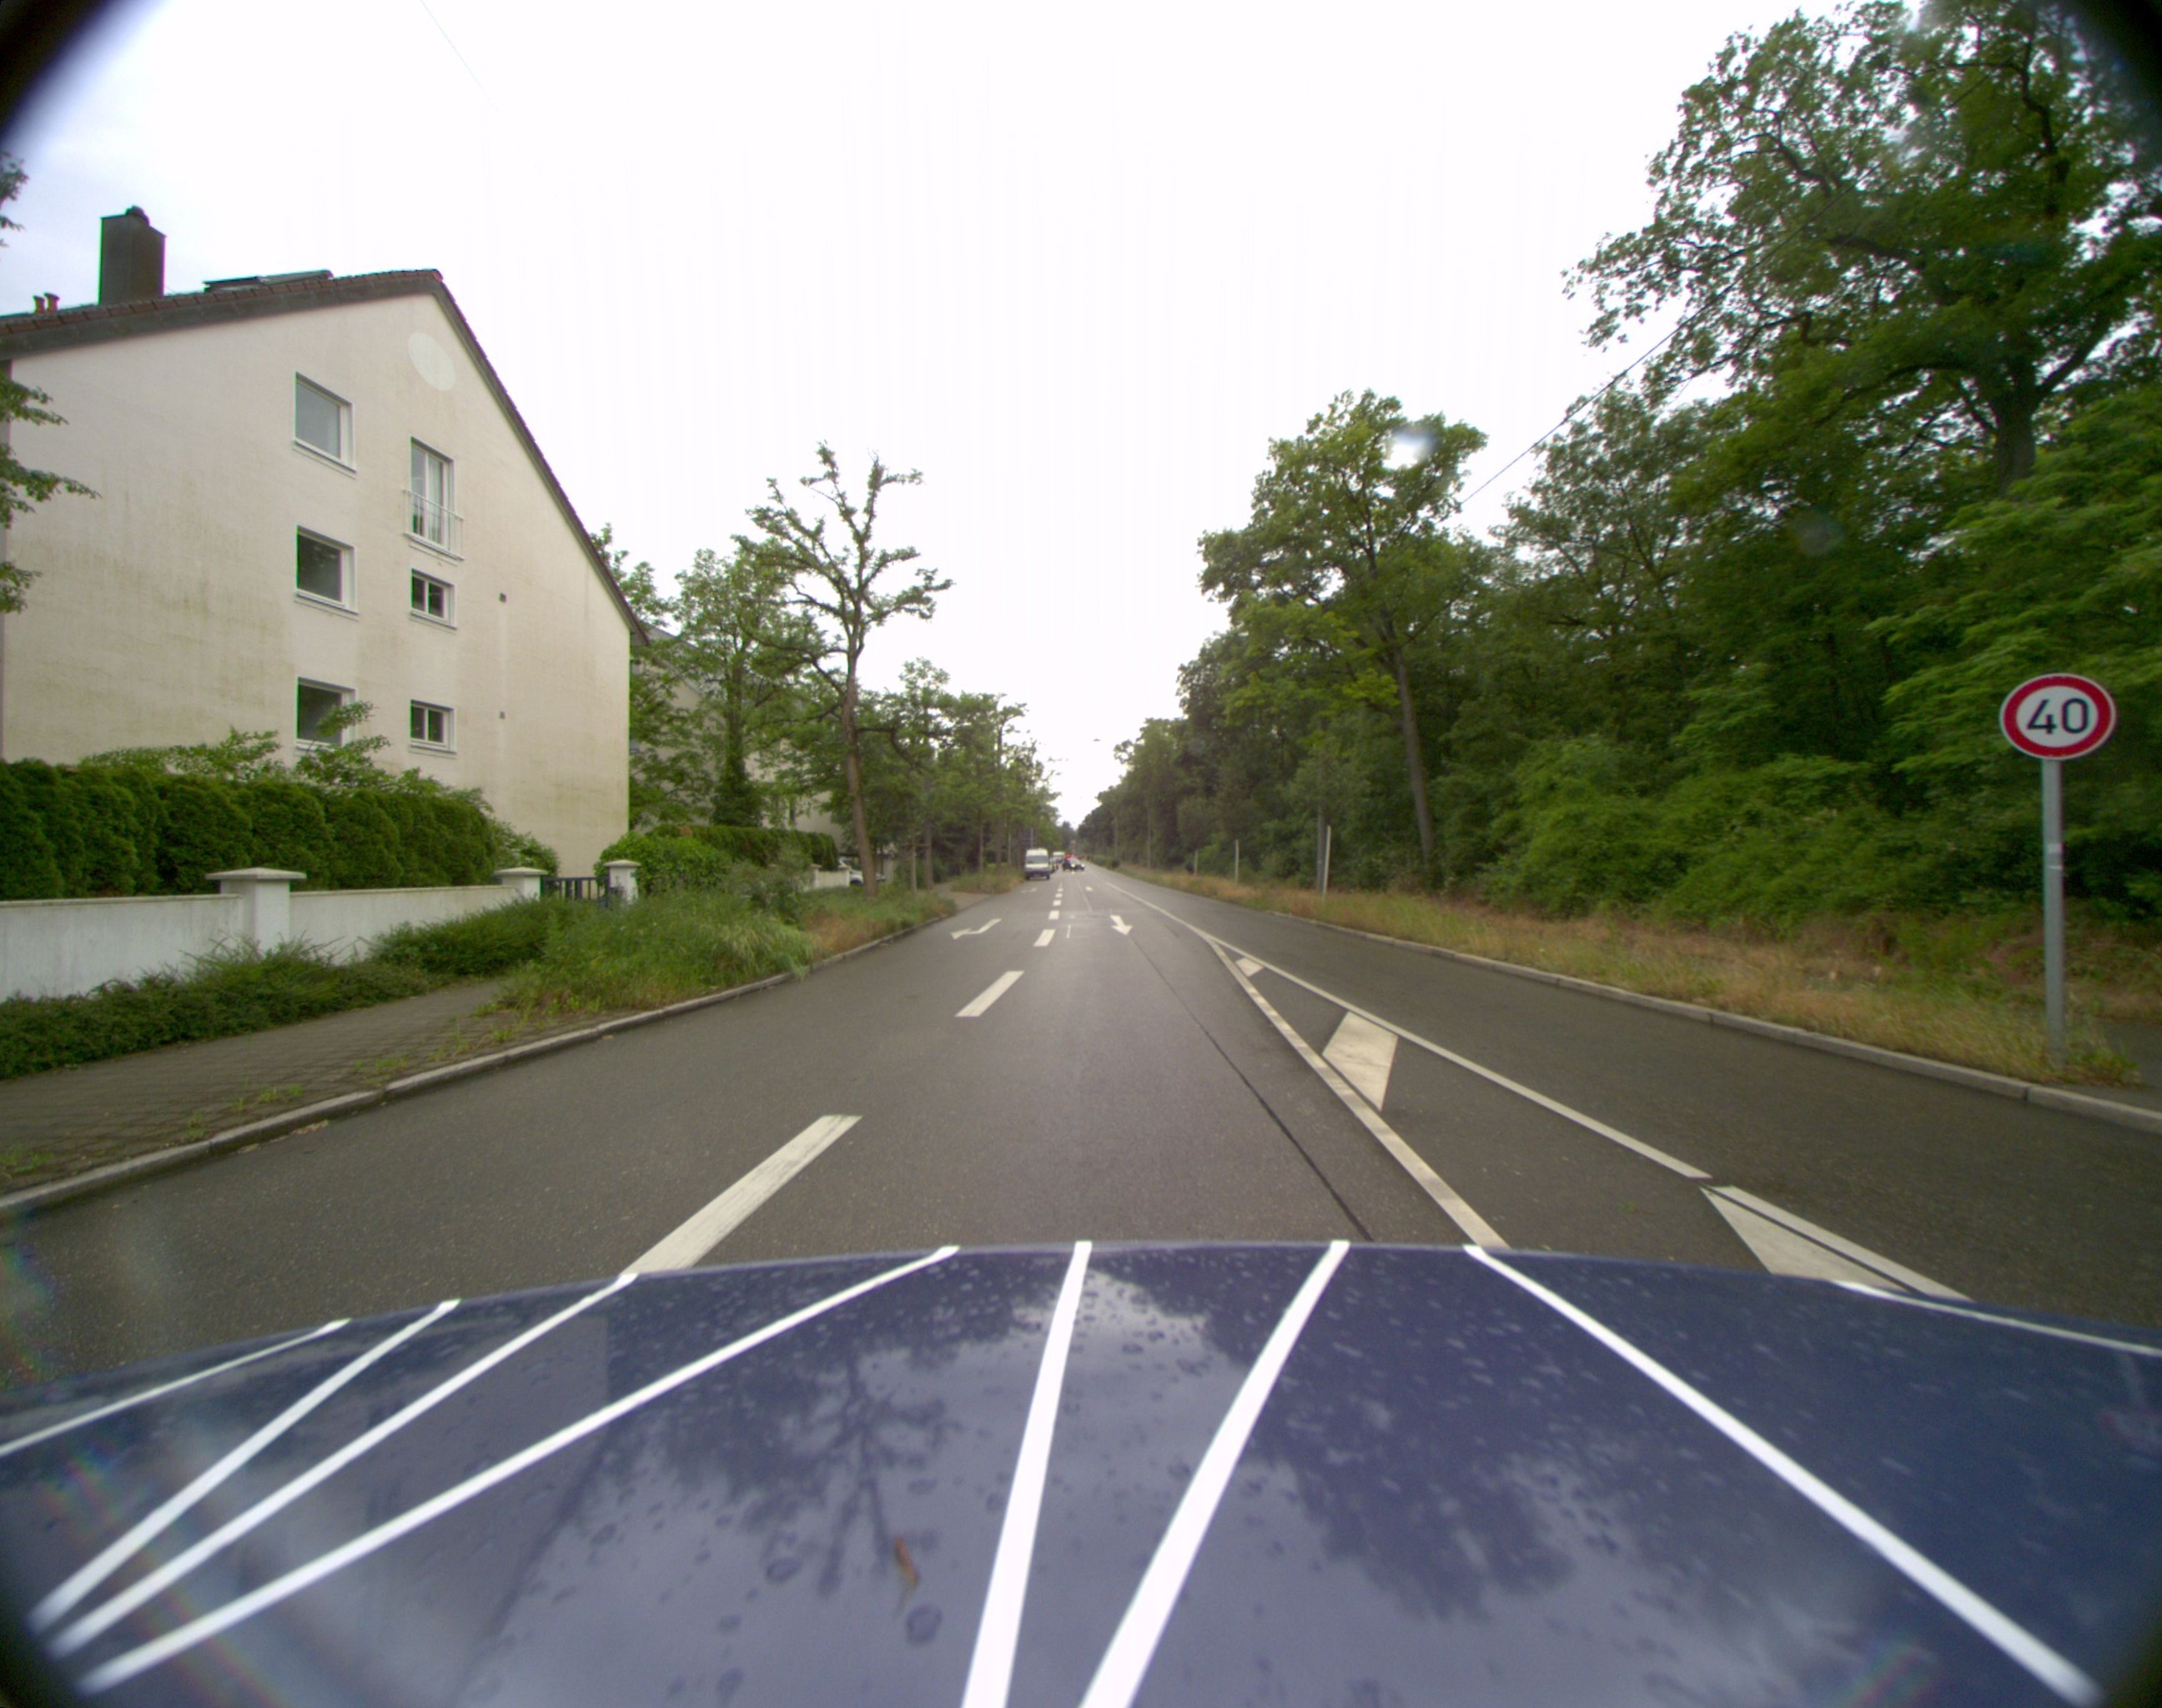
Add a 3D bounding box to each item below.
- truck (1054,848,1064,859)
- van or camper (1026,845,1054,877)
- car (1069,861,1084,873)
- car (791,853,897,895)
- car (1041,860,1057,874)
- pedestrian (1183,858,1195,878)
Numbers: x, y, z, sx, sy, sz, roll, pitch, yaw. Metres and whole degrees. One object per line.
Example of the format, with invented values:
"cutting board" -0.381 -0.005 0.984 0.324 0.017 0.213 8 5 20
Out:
"truck" -4.995 -0.172 173.674 2.230 2.321 5.112 1 0 -2
"van or camper" -3.388 0.539 63.623 2.042 2.465 5.637 -3 0 -1
"car" -0.564 1.600 94.945 1.622 1.459 4.409 -2 0 -2
"car" -11.147 0.931 35.855 4.312 1.807 1.876 -1 0 10
"car" -3.433 1.376 81.400 1.576 1.463 3.764 -2 0 -1
"pedestrian" 8.511 1.107 60.004 0.783 1.598 0.732 0 1 -2
